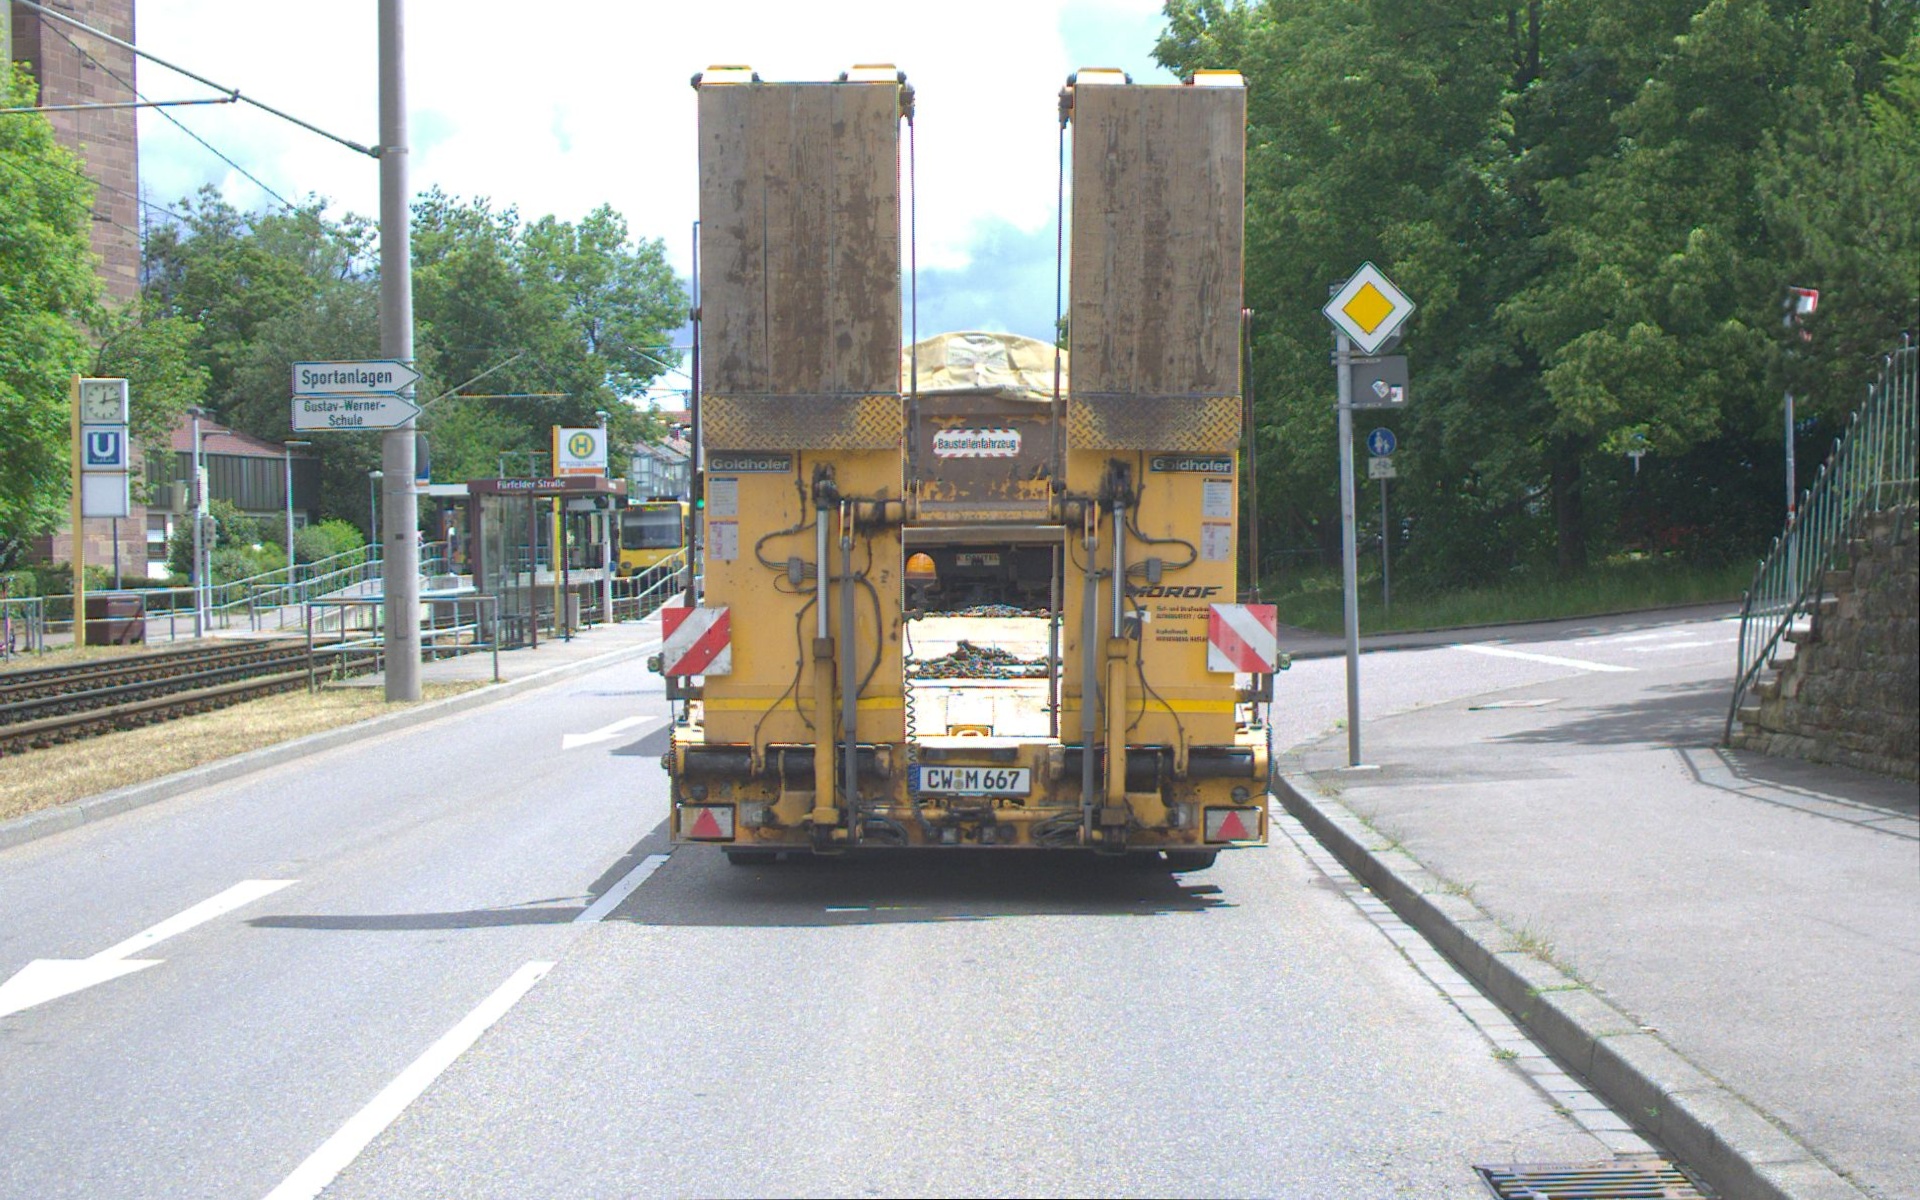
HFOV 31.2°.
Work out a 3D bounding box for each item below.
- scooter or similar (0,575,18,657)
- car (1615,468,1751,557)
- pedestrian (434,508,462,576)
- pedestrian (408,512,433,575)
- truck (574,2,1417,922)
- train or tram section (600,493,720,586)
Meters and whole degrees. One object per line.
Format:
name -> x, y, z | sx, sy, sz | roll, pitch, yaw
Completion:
scooter or similar -> -15.009, 0.243, 52.820 | 0.649, 1.233, 1.401 | 1, 1, 1
car -> 13.280, -1.588, 63.303 | 1.661, 1.495, 3.663 | -3, 1, 0
pedestrian -> -15.087, -1.706, 101.308 | 0.712, 2.007, 0.732 | 1, 0, -2
pedestrian -> -15.118, -1.579, 96.385 | 0.584, 1.771, 0.576 | 1, 0, 0
truck -> -0.108, -0.649, 20.883 | 3.402, 3.719, 13.740 | -1, 1, -2
train or tram section -> -11.903, -2.379, 138.473 | 3.108, 3.453, 18.826 | 1, 1, 0
